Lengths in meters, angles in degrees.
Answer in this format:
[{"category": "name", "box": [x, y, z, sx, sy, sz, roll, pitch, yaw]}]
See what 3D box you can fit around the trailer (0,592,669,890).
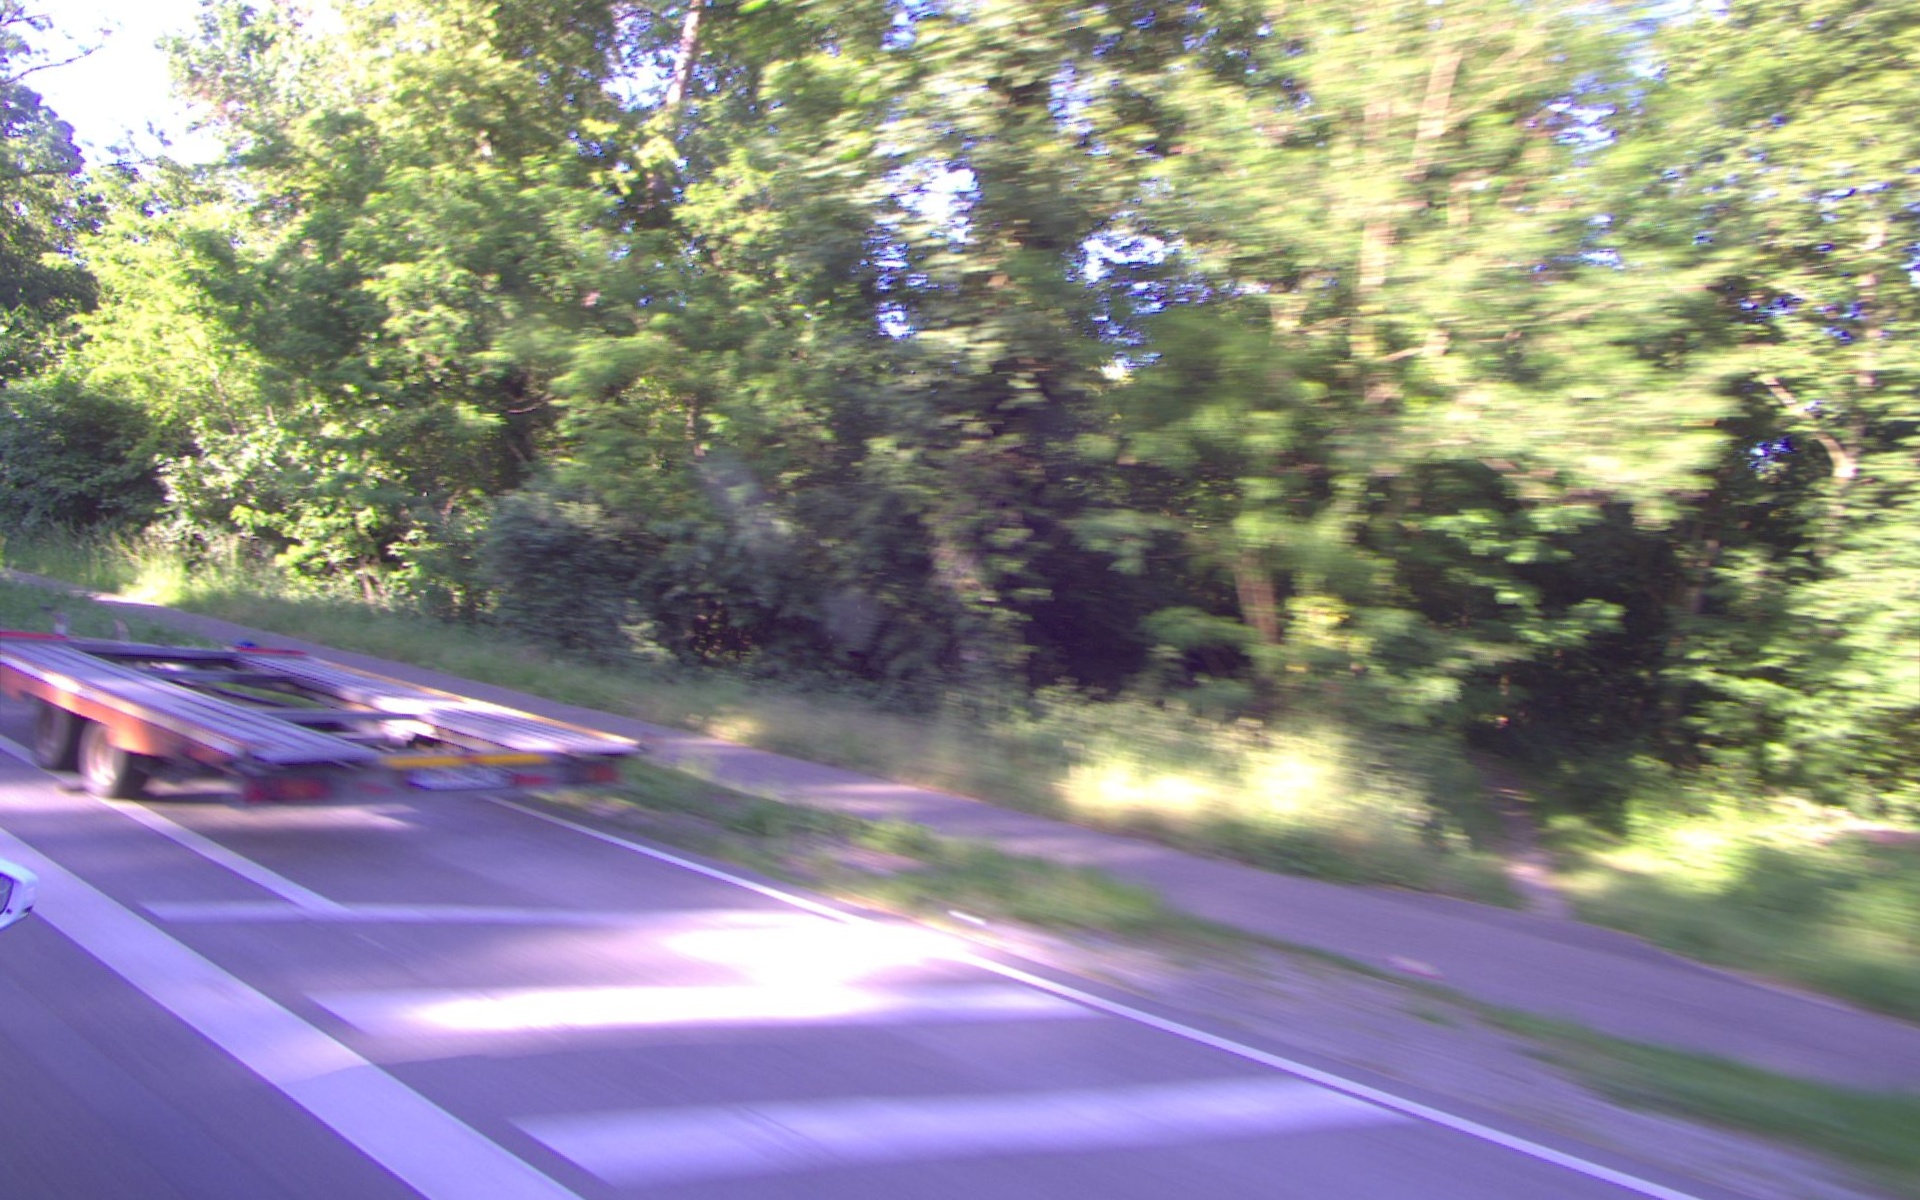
[{"category": "trailer", "box": [-4.822, 0.645, 6.641, 5.565, 0.807, 2.437, 6, -2, 32]}]
